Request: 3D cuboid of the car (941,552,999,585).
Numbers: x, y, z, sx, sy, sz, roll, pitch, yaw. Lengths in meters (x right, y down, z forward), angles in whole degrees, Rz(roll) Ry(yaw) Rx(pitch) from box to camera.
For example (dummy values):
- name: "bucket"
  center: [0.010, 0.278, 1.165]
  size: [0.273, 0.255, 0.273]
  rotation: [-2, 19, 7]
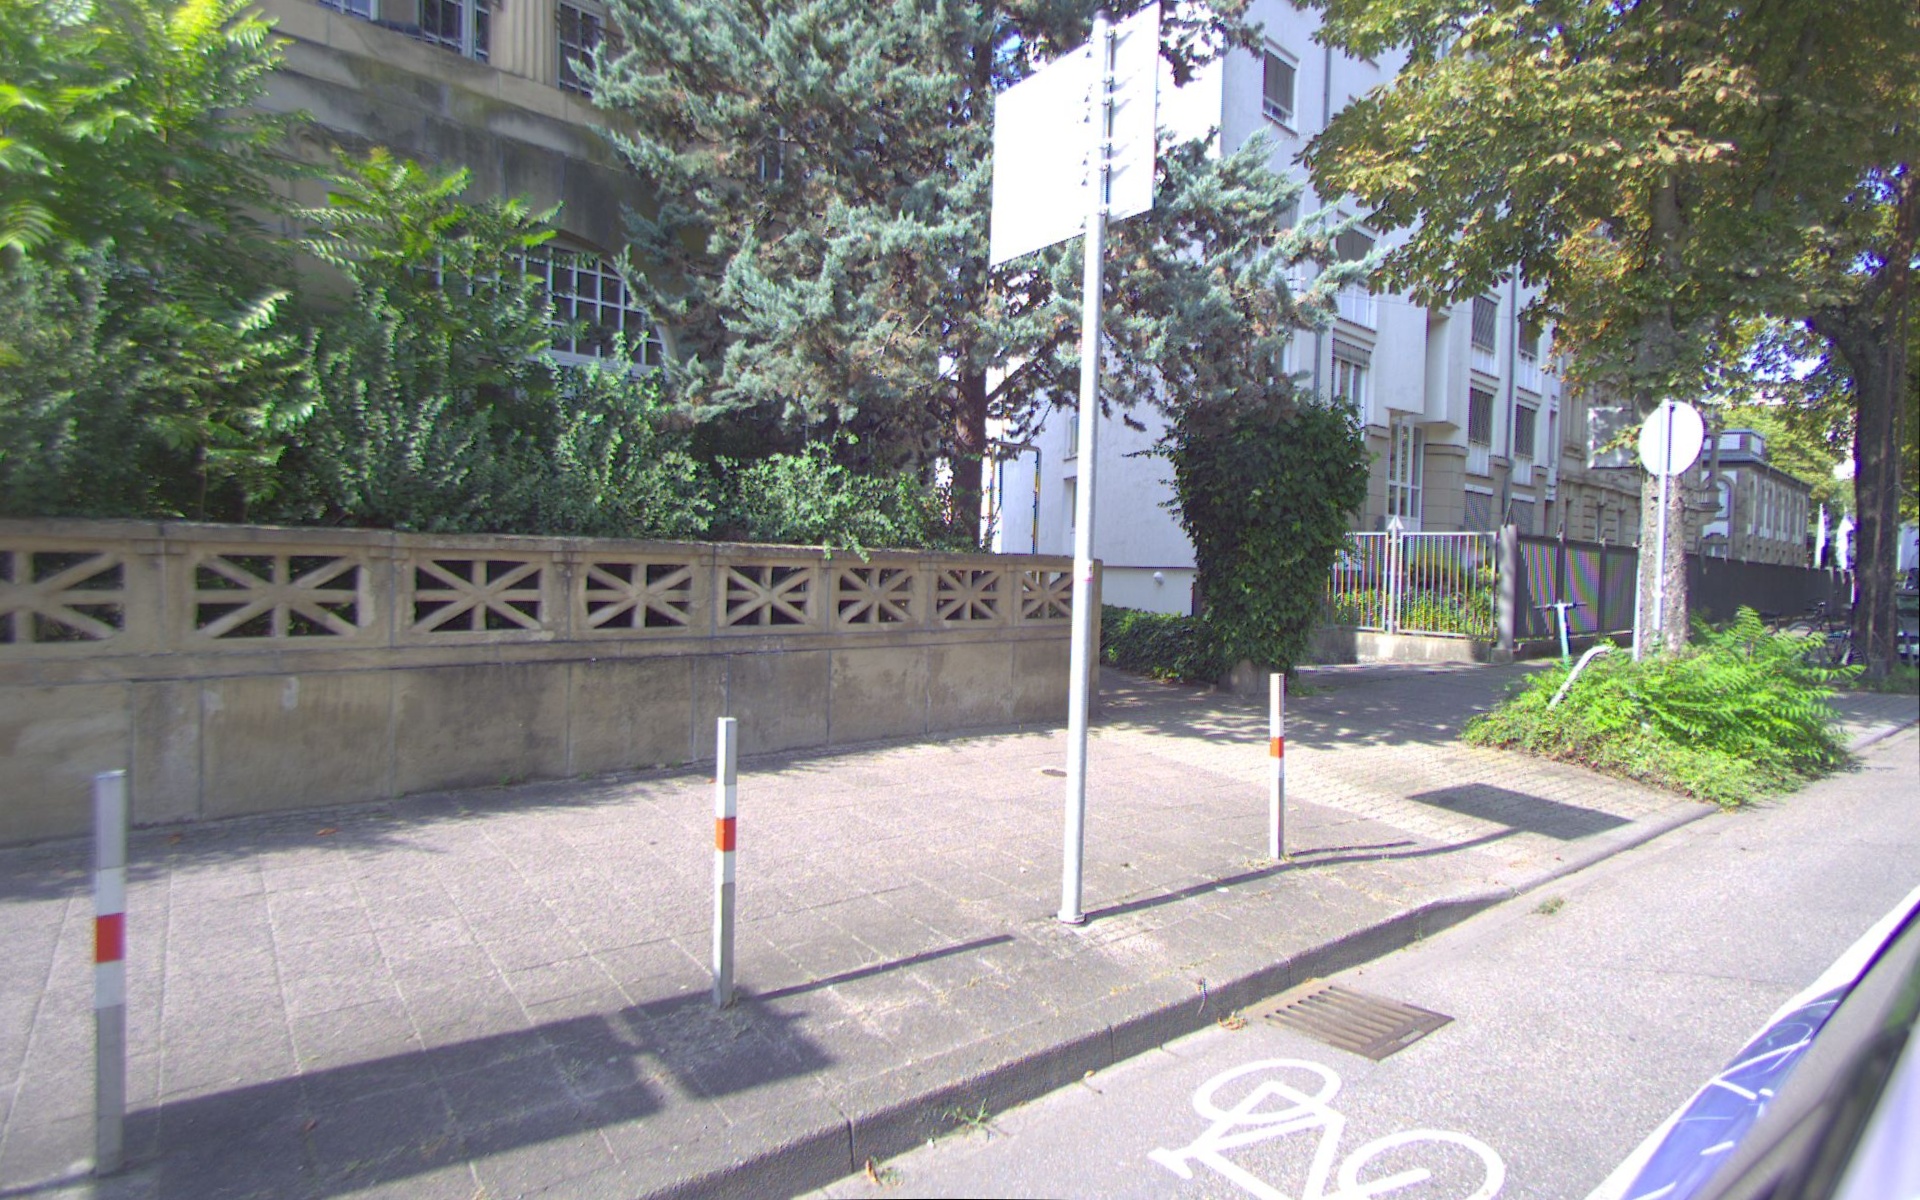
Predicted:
- name: "car"
  center: [0.456, -1.602, 51.292]
  size: [1.797, 1.585, 4.010]
  rotation: [1, 2, -17]

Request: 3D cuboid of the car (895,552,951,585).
- name: "car"
  center: [-1.895, -1.605, 50.577]
  size: [1.797, 1.585, 4.010]
  rotation: [1, 2, -17]

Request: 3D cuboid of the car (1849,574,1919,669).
- name: "car"
  center: [17.919, 0.377, 18.709]
  size: [4.282, 1.541, 1.610]
  rotation: [-1, 6, -42]

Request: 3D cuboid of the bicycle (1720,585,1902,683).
- name: "bicycle"
  center: [11.868, 0.463, 14.157]
  size: [1.812, 1.179, 0.504]
  rotation: [4, 8, 9]

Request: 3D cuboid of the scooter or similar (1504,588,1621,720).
- name: "scooter or similar"
  center: [6.021, 0.505, 10.114]
  size: [1.015, 1.211, 0.560]
  rotation: [0, 5, -36]

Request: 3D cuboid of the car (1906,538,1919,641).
- name: "car"
  center: [26.524, -0.223, 26.397]
  size: [6.121, 2.529, 2.050]
  rotation: [0, 3, -42]
